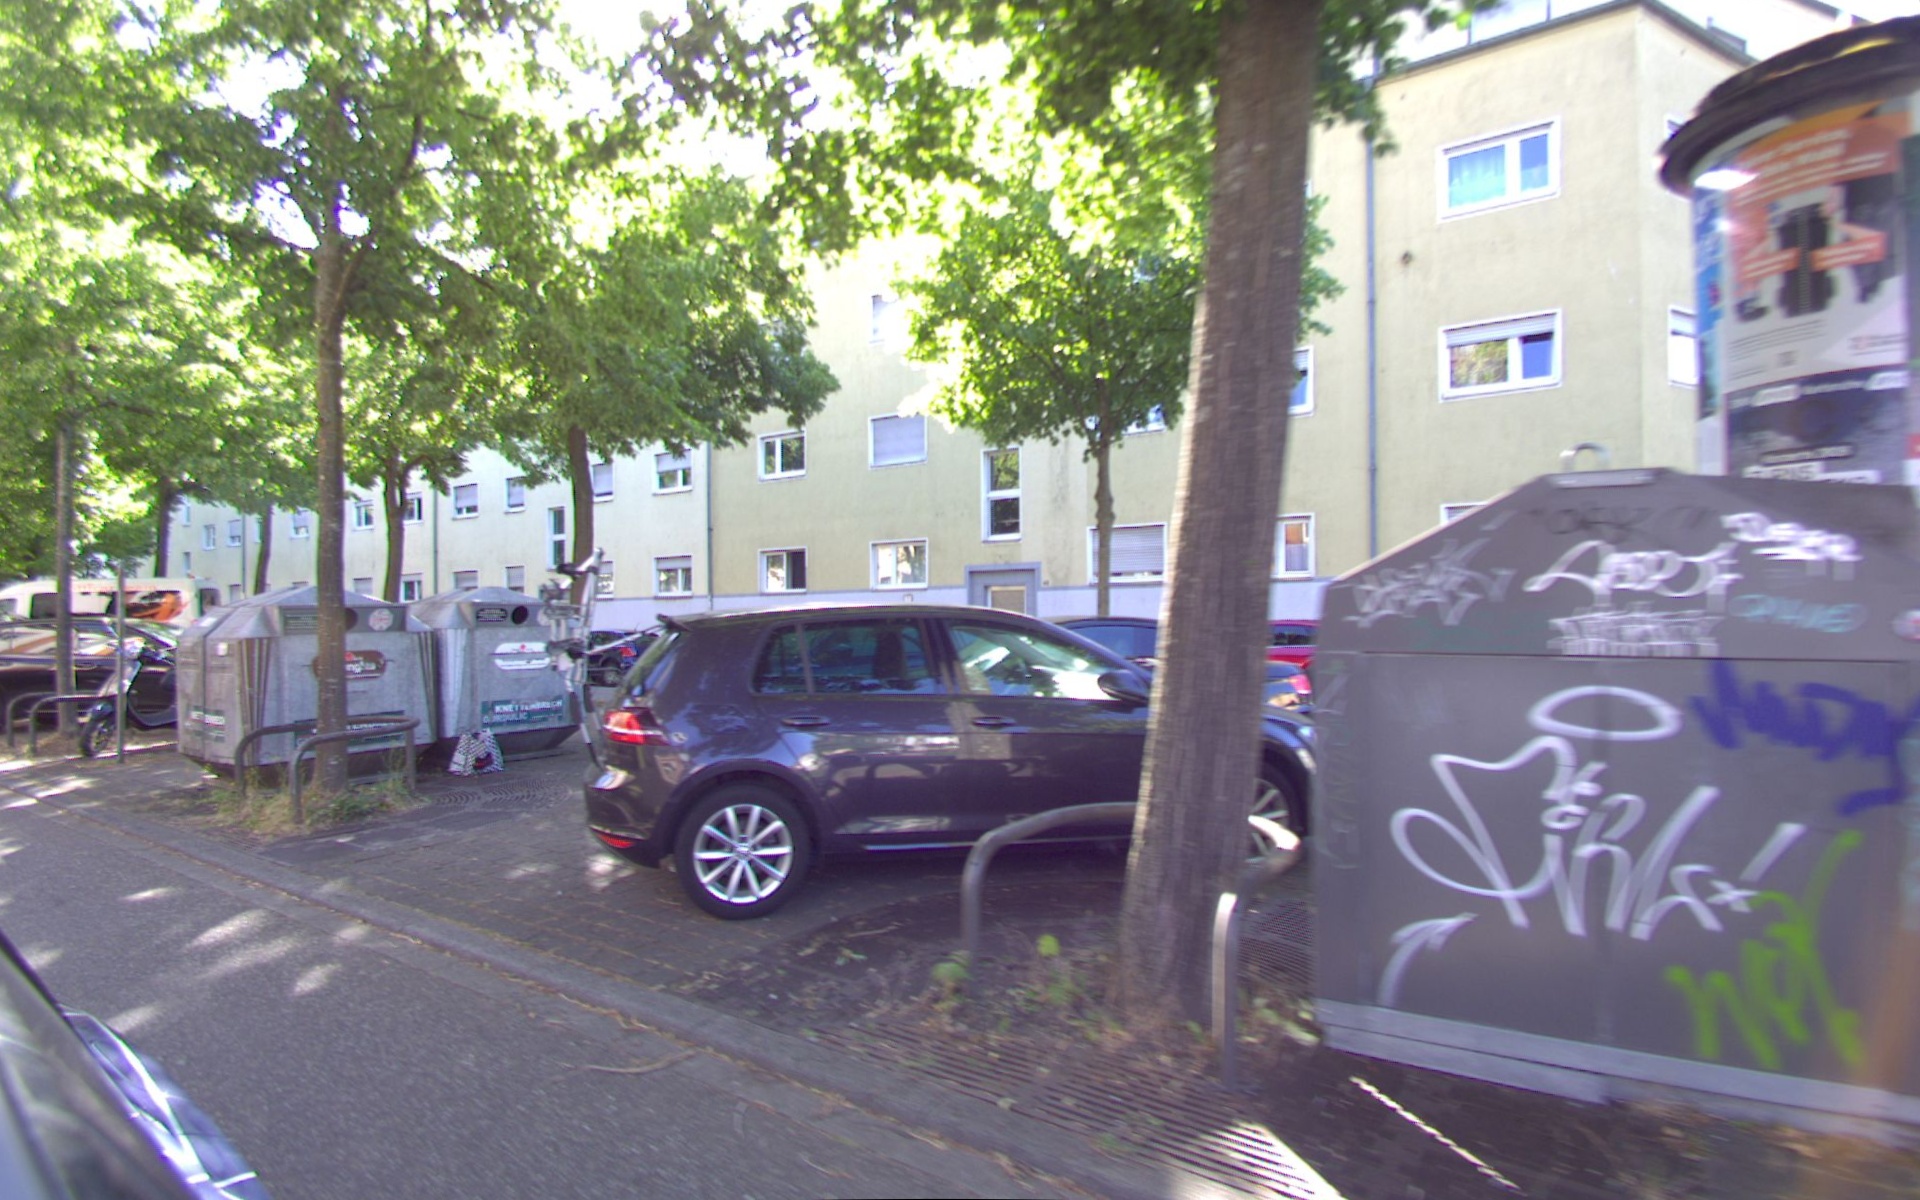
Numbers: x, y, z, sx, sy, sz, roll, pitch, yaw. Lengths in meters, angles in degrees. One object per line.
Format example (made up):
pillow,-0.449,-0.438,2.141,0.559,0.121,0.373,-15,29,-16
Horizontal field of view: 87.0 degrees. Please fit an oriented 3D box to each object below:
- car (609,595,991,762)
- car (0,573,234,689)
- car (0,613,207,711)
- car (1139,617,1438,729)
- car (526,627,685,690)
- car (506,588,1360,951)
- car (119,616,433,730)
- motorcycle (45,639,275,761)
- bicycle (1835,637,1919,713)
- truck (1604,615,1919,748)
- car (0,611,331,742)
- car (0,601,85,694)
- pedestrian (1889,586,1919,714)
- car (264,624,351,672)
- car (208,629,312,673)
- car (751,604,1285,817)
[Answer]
car,-1.603,0.731,10.820,3.740,1.477,1.647,1,-2,-41
car,-21.519,0.801,24.469,5.979,2.643,2.463,1,-4,-23
car,-15.724,1.054,17.817,3.673,1.594,1.642,-1,-1,-23
car,5.018,1.055,15.712,4.155,1.538,1.516,-2,-2,34
car,-9.231,1.461,26.265,4.133,1.506,1.759,-1,-2,33
car,-0.139,0.701,5.581,4.072,1.493,1.781,0,0,-14
car,-11.054,1.078,16.524,4.037,1.477,1.870,-2,0,-39
motorcycle,-8.630,1.026,11.026,0.516,1.180,1.927,-1,-2,26
bicycle,13.971,1.068,14.516,2.121,1.081,0.487,-1,-2,15
truck,9.838,0.919,12.259,3.404,1.447,1.518,-2,-2,34
car,-10.996,0.960,13.470,4.085,1.566,1.838,0,-1,-13
car,-21.136,1.017,21.237,3.785,1.903,1.849,-1,-1,-19
pedestrian,12.583,0.651,13.252,0.525,1.654,0.419,0,-2,-28
car,-23.394,1.702,36.280,3.176,1.571,1.462,-2,1,34
car,-26.968,1.949,38.984,4.148,1.577,1.877,-2,-3,34
car,0.396,0.765,8.230,3.931,1.413,1.792,0,-2,-17
